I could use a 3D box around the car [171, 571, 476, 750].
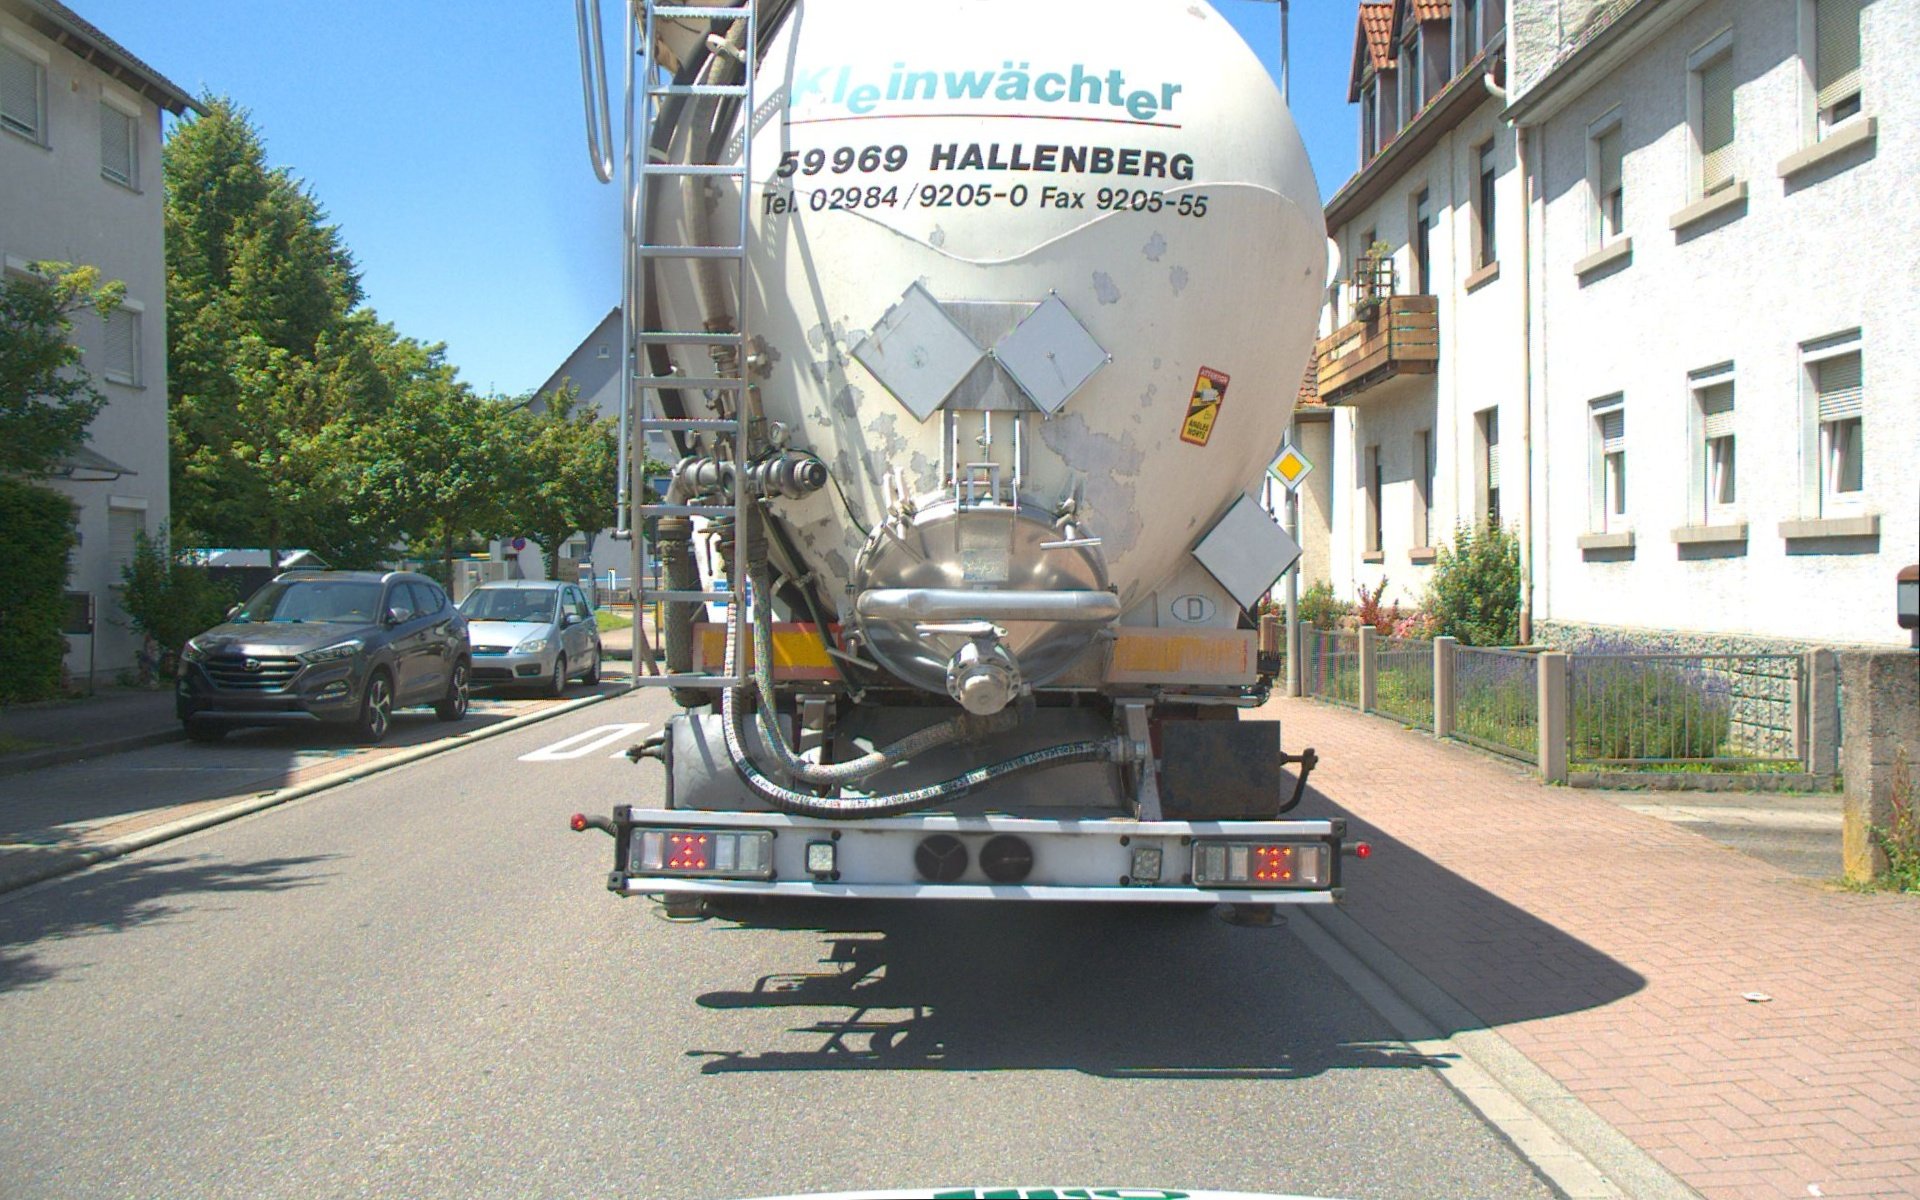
[{"bbox_3d":[-6.447,0.538,17.232,1.657,1.648,3.997,0,0,0],"label":"car"}]

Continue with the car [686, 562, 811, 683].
[{"bbox_3d":[-3.628,0.339,29.011,1.622,1.887,4.463,-2,1,-1],"label":"car"}]

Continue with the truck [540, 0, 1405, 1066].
[{"bbox_3d":[-0.006,-0.691,9.747,2.587,4.086,9.560,0,0,-1],"label":"truck"}]

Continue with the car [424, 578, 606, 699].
[{"bbox_3d":[-6.343,0.495,23.963,1.663,1.608,3.837,0,1,-1],"label":"car"}]
